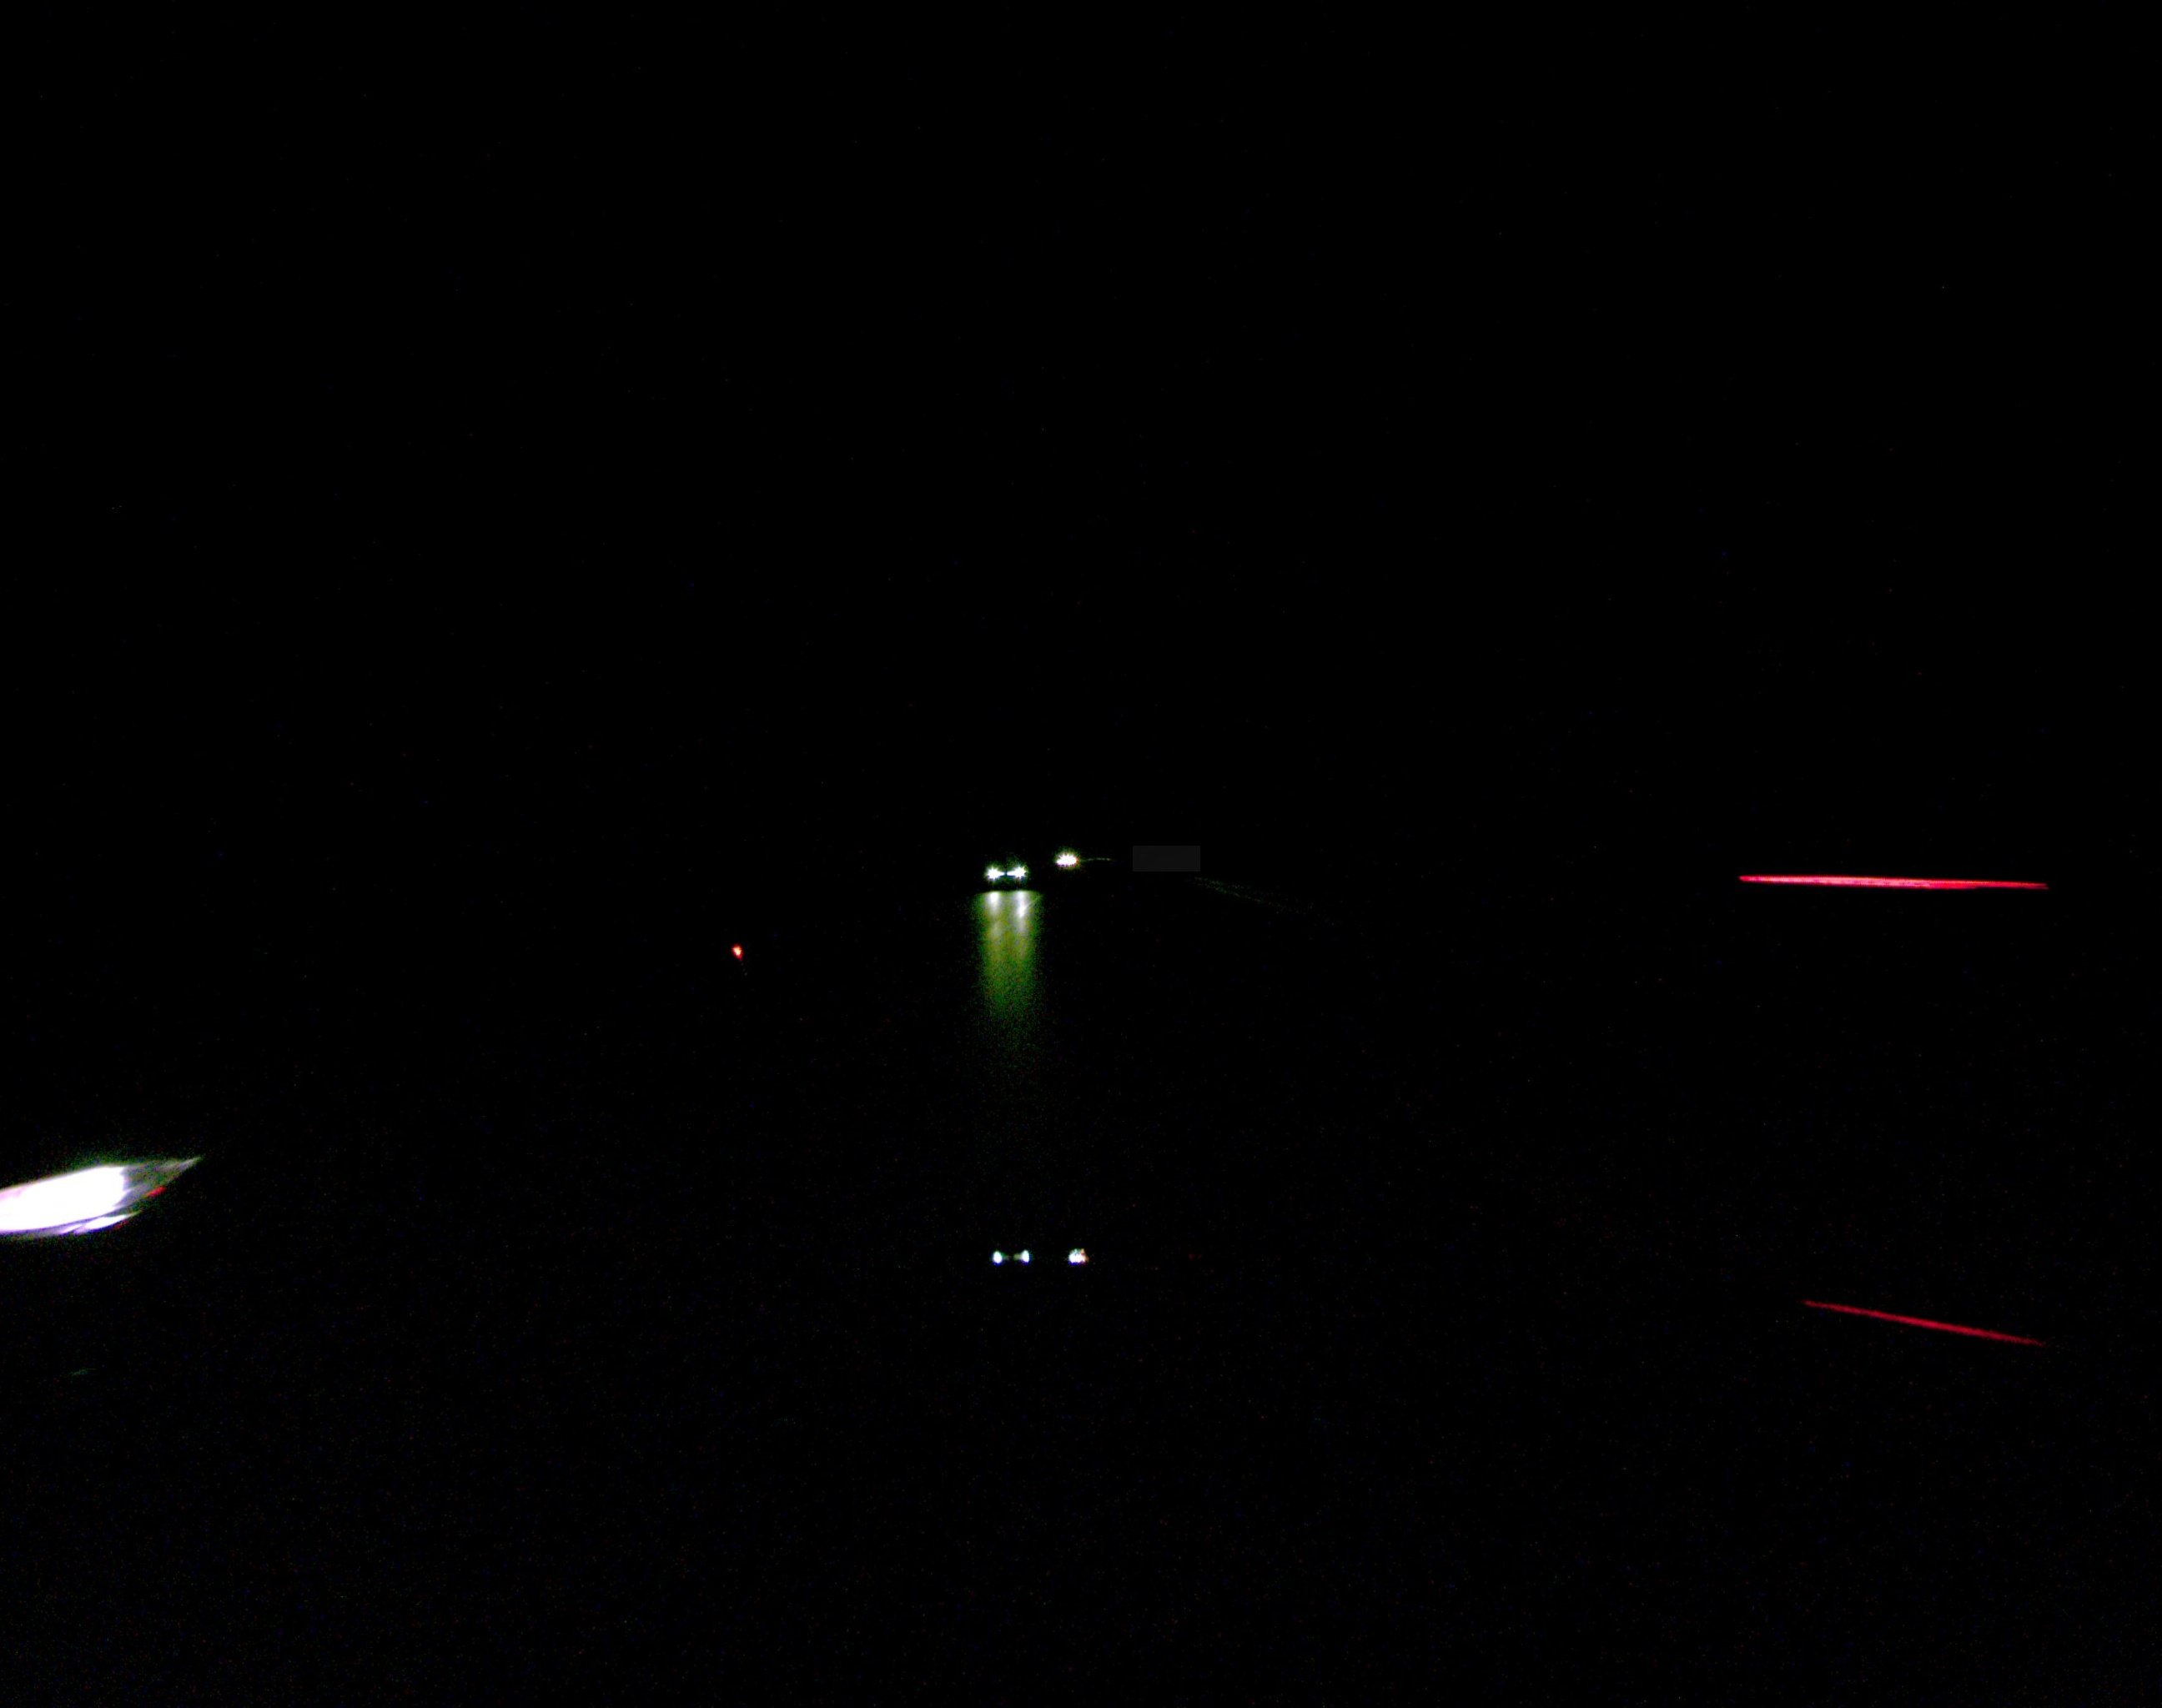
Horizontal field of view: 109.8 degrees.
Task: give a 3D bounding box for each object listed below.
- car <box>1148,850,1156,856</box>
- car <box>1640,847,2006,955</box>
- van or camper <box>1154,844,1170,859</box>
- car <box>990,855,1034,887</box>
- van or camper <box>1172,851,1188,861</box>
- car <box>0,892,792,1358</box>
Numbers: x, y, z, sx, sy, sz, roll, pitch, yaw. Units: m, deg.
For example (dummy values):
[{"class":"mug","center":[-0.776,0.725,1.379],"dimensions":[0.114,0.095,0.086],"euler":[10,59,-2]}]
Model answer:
[{"class":"car","center":[20.808,-0.342,223.451],"dimensions":[1.795,1.532,4.552],"euler":[5,0,0]},{"class":"car","center":[13.431,0.716,14.387],"dimensions":[1.998,1.629,5.074],"euler":[1,0,1]},{"class":"van or camper","center":[15.335,-0.547,144.090],"dimensions":[2.335,2.616,7.776],"euler":[2,1,1]},{"class":"car","center":[-3.623,0.879,40.585],"dimensions":[1.795,1.532,4.225],"euler":[-3,0,1]},{"class":"van or camper","center":[15.111,0.304,116.007],"dimensions":[1.784,1.433,5.102],"euler":[1,1,1]},{"class":"car","center":[-3.524,1.070,4.790],"dimensions":[1.690,1.405,4.225],"euler":[-1,0,1]}]
